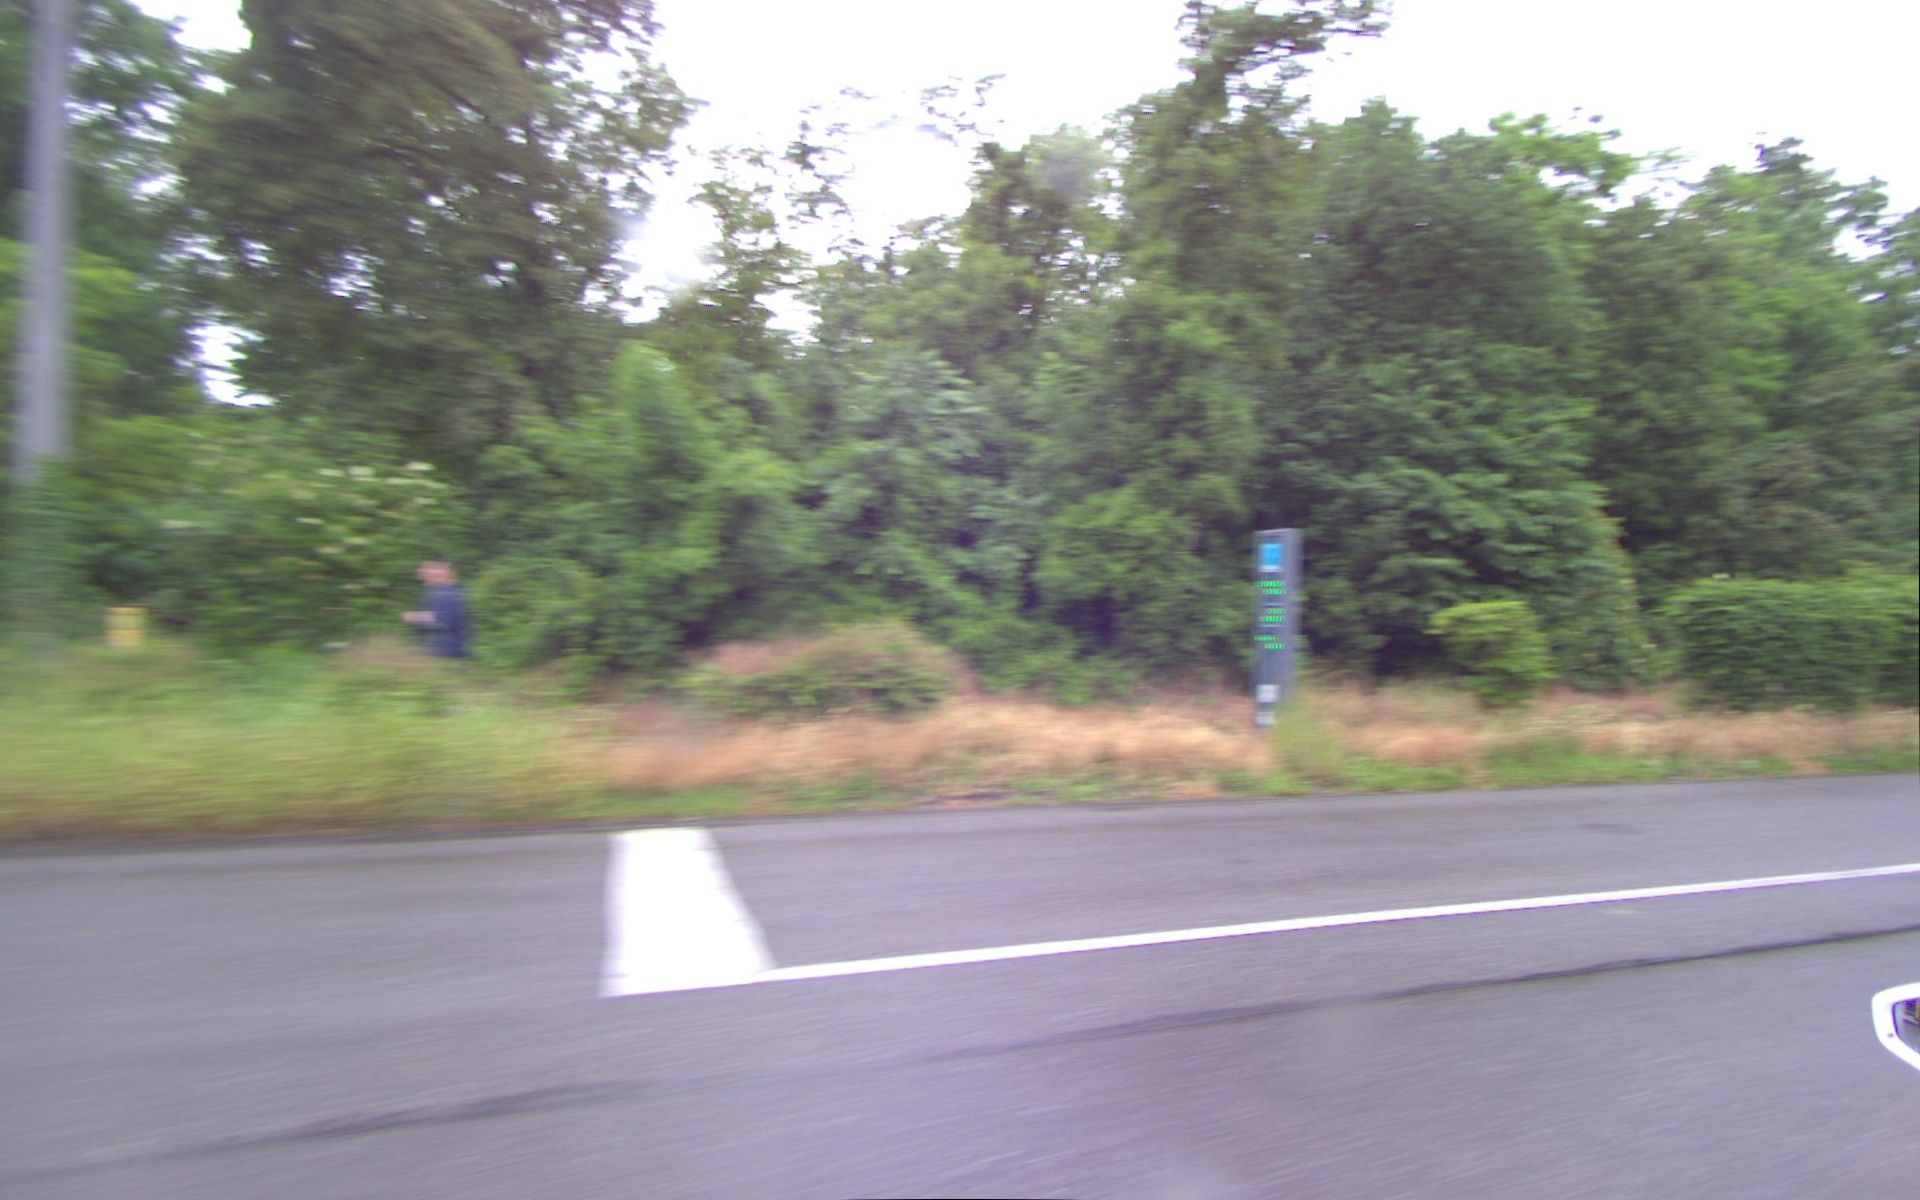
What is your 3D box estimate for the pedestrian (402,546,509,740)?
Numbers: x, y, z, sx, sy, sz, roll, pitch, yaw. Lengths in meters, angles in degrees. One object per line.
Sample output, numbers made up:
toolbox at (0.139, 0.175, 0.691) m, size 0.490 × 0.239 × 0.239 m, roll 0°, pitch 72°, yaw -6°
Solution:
pedestrian at (-4.962, 0.424, 9.927) m, size 0.751 × 1.823 × 0.775 m, roll 2°, pitch -1°, yaw -17°
